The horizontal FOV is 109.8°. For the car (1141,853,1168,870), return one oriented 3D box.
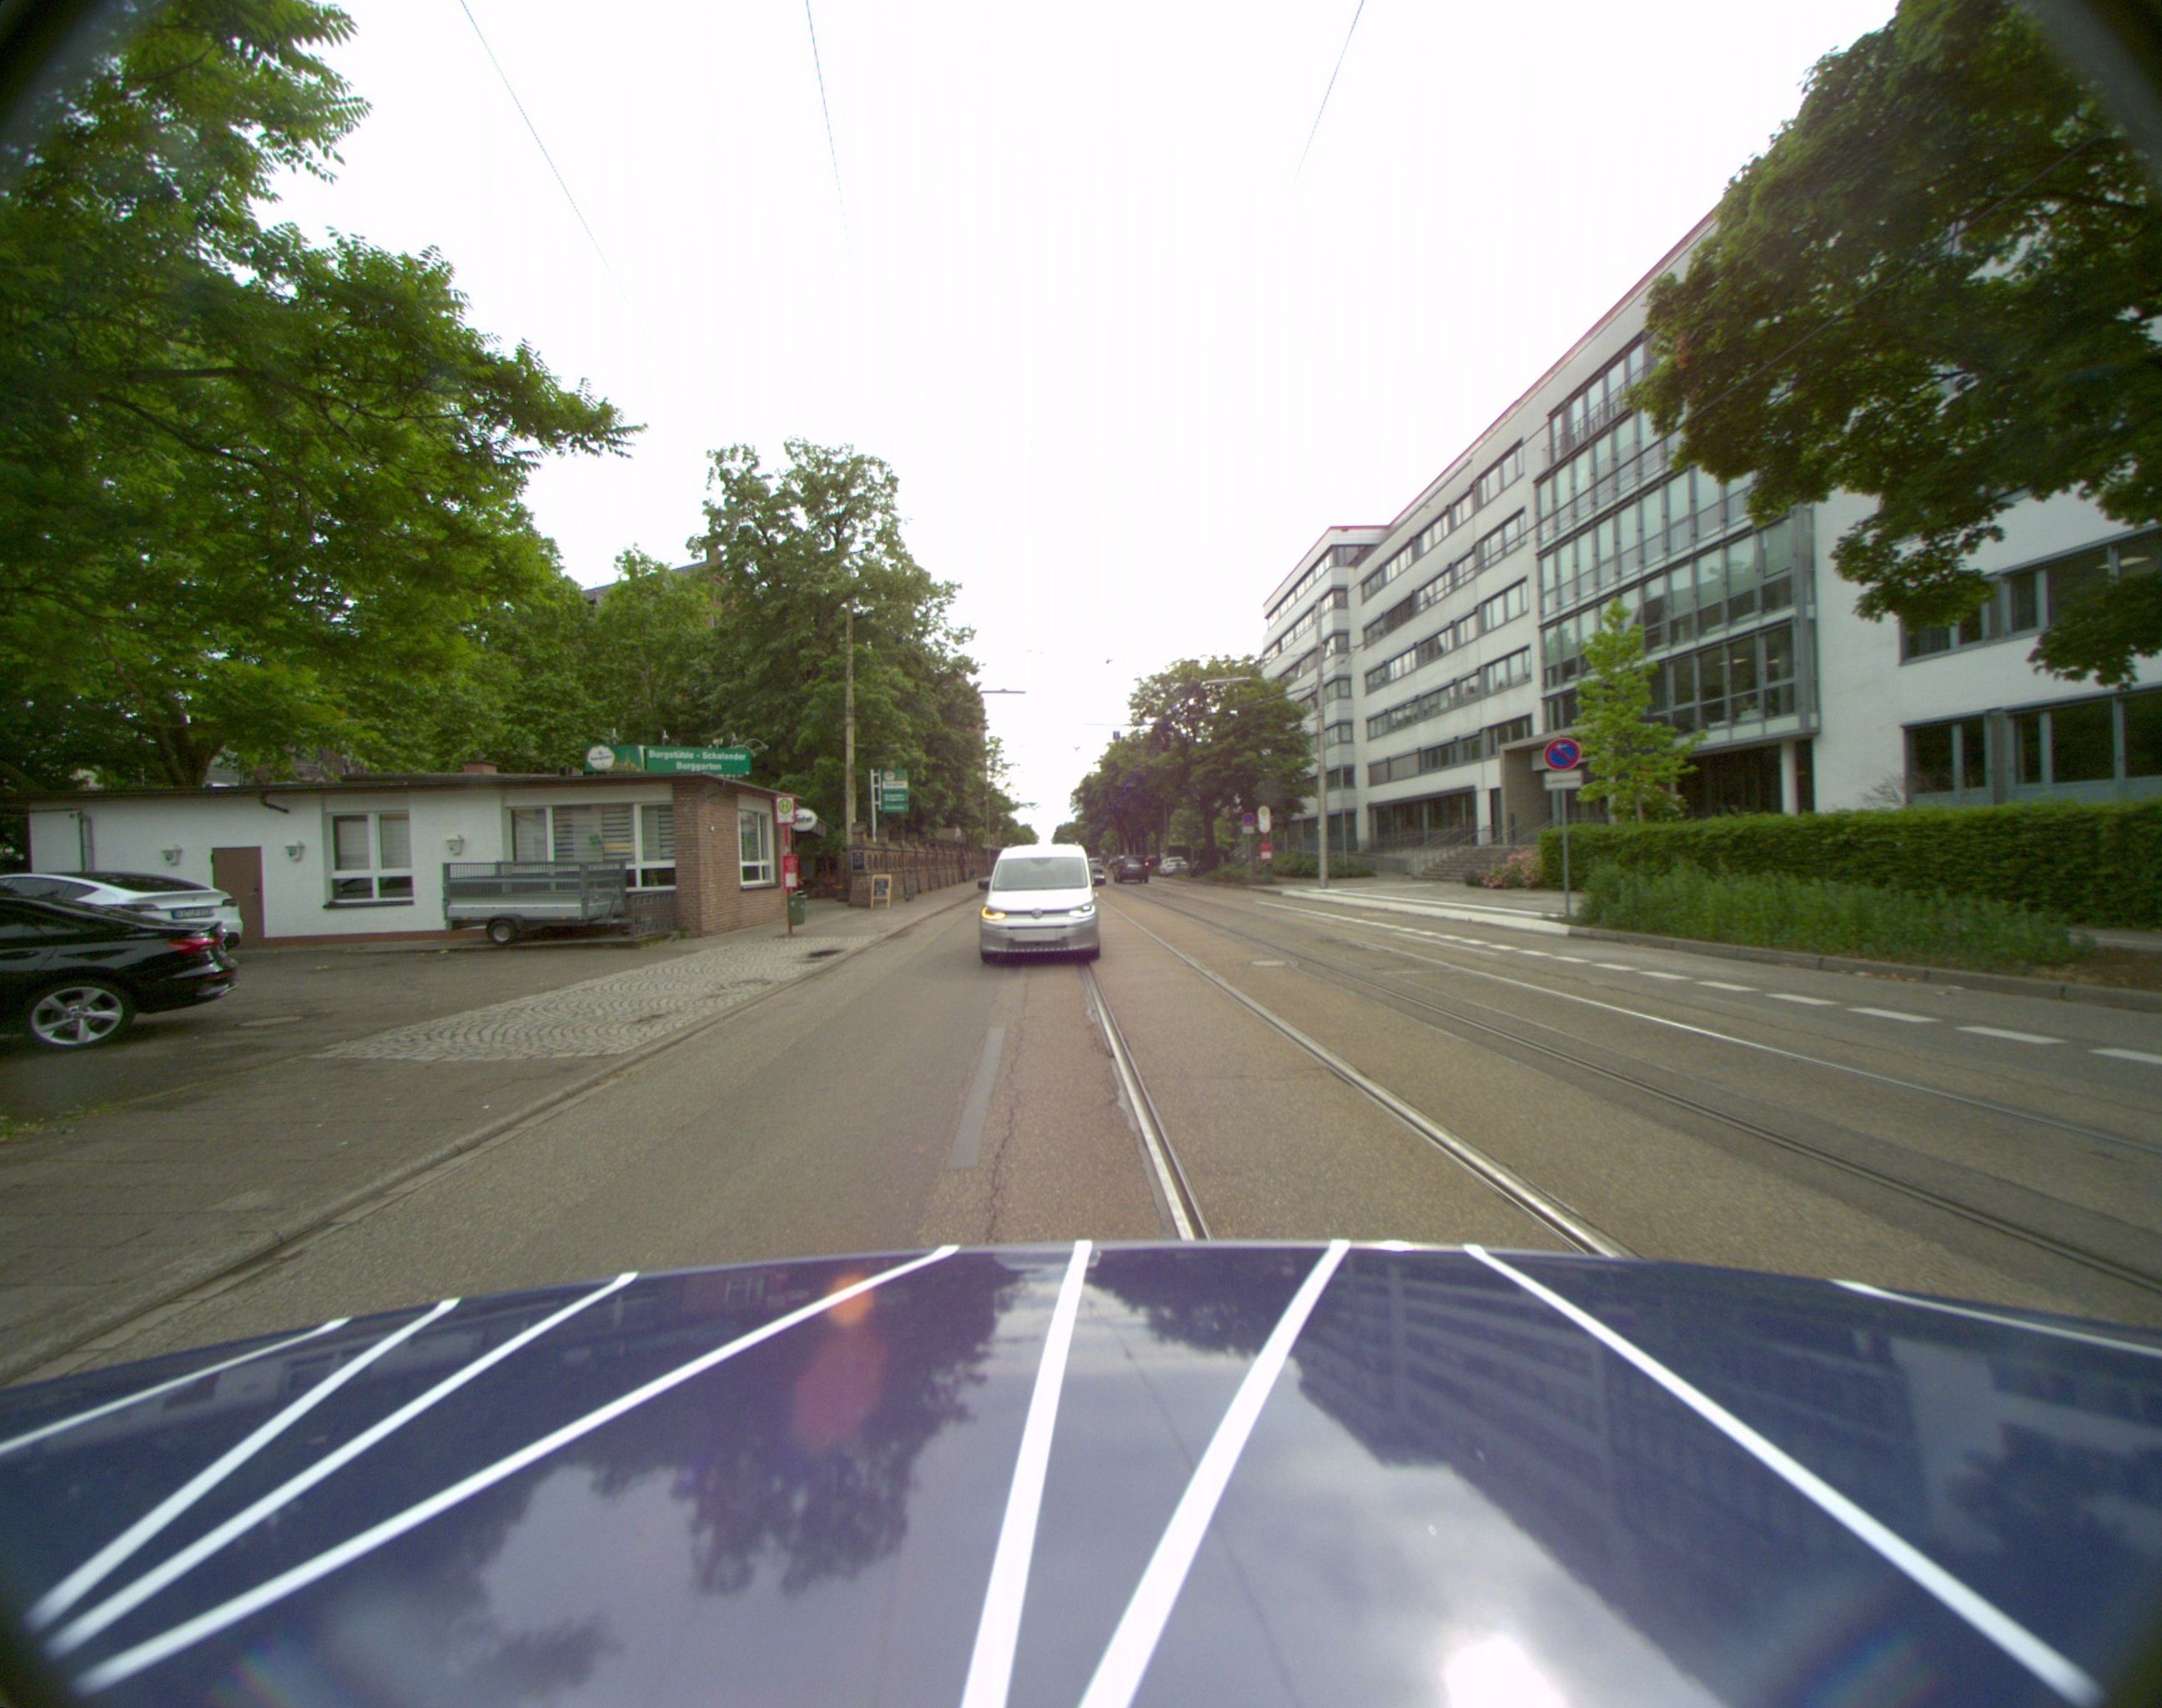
[{"bbox_3d":[6.902,0.683,71.636,1.633,1.439,3.755,-5,1,-6],"label":"car"}]

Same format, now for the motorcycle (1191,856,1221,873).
[{"bbox_3d":[8.293,0.700,50.381,1.794,1.044,0.732,-3,1,-9],"label":"motorcycle"}]

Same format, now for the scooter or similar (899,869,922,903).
[{"bbox_3d":[-6.570,1.201,29.282,0.578,1.232,1.409,1,0,-2],"label":"scooter or similar"}]

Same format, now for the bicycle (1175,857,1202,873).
[{"bbox_3d":[7.672,0.772,54.360,1.812,1.094,0.632,-1,1,-9],"label":"bicycle"}]

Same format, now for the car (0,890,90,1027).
[{"bbox_3d":[-13.877,1.213,7.707,1.872,1.419,4.551,1,1,40],"label":"car"}]

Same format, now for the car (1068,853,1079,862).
[{"bbox_3d":[-1.426,0.731,142.723,1.847,1.644,4.388,0,0,-2],"label":"car"}]

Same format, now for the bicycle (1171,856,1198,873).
[{"bbox_3d":[7.543,0.765,55.516,1.869,1.180,0.632,-1,1,2],"label":"bicycle"}]

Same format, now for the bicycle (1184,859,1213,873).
[{"bbox_3d":[8.031,0.822,51.981,1.812,0.894,0.632,-1,1,-9],"label":"bicycle"}]

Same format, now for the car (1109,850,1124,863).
[{"bbox_3d":[5.110,0.348,109.467,1.815,1.699,3.999,-4,1,1],"label":"car"}]

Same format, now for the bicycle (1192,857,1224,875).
[{"bbox_3d":[8.059,0.782,48.130,1.834,1.047,0.741,-2,0,-11],"label":"bicycle"}]

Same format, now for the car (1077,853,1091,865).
[{"bbox_3d":[0.415,0.672,102.437,1.752,1.477,4.062,-1,-1,-2],"label":"car"}]

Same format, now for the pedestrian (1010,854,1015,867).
[{"bbox_3d":[-9.758,0.894,108.853,0.723,1.834,0.897,-1,1,-5],"label":"pedestrian"}]

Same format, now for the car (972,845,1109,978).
[{"bbox_3d":[-0.668,0.807,13.022,1.850,1.796,4.936,-2,0,-2],"label":"car"}]

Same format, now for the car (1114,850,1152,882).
[{"bbox_3d":[3.093,0.676,45.917,1.832,1.727,4.334,-2,1,-2],"label":"car"}]

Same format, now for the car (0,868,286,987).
[{"bbox_3d":[-16.218,1.170,12.403,4.434,1.637,1.991,-2,1,3],"label":"car"}]

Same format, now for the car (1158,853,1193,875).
[{"bbox_3d":[7.225,0.724,58.536,1.886,1.485,4.752,-4,0,-2],"label":"car"}]

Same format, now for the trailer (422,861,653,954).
[{"bbox_3d":[-10.284,0.982,14.556,3.170,1.530,1.620,-2,1,-1],"label":"trailer"}]

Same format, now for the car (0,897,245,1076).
[{"bbox_3d":[-10.382,1.183,6.300,1.930,1.399,4.594,-1,-1,42],"label":"car"}]

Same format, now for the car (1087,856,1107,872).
[{"bbox_3d":[1.649,0.984,79.338,1.708,1.521,3.740,-3,1,-4],"label":"car"}]
